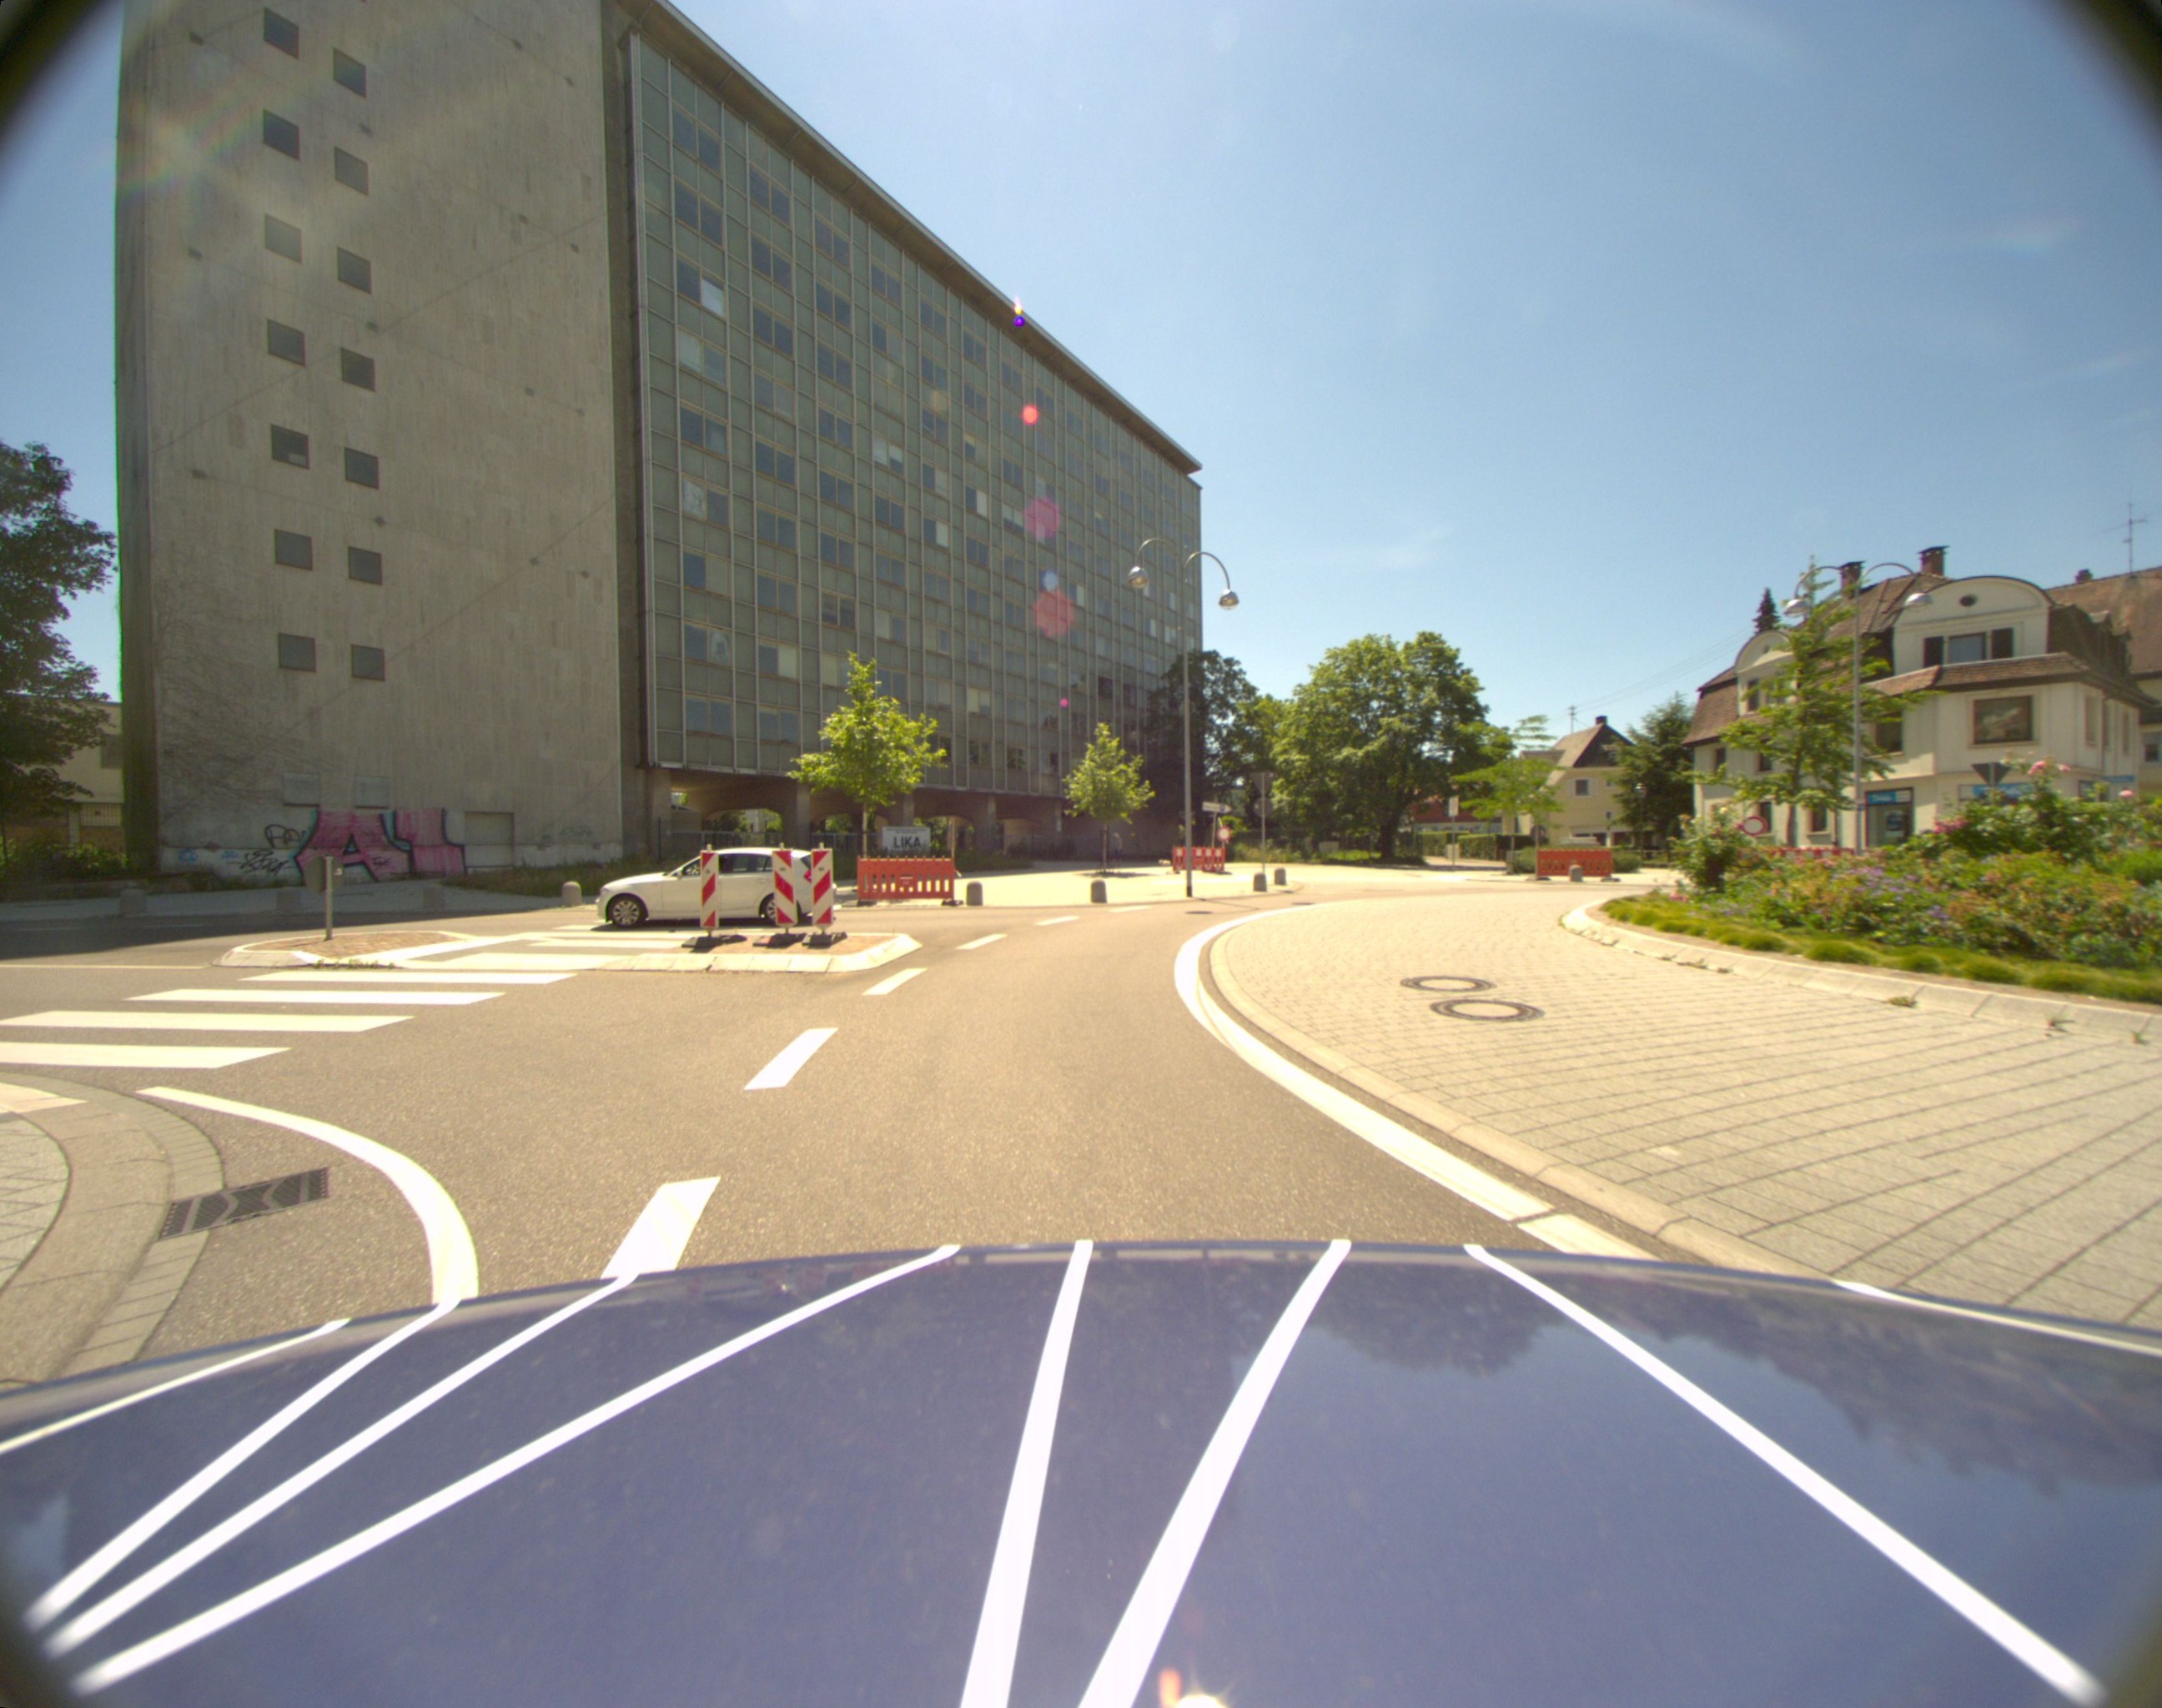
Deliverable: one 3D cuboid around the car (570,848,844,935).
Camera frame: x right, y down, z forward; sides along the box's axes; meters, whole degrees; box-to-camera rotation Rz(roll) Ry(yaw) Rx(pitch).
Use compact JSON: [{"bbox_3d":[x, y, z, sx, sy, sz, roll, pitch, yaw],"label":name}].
[{"bbox_3d":[-6.817,0.632,14.357,4.257,1.450,1.908,-1,1,-11],"label":"car"}]
